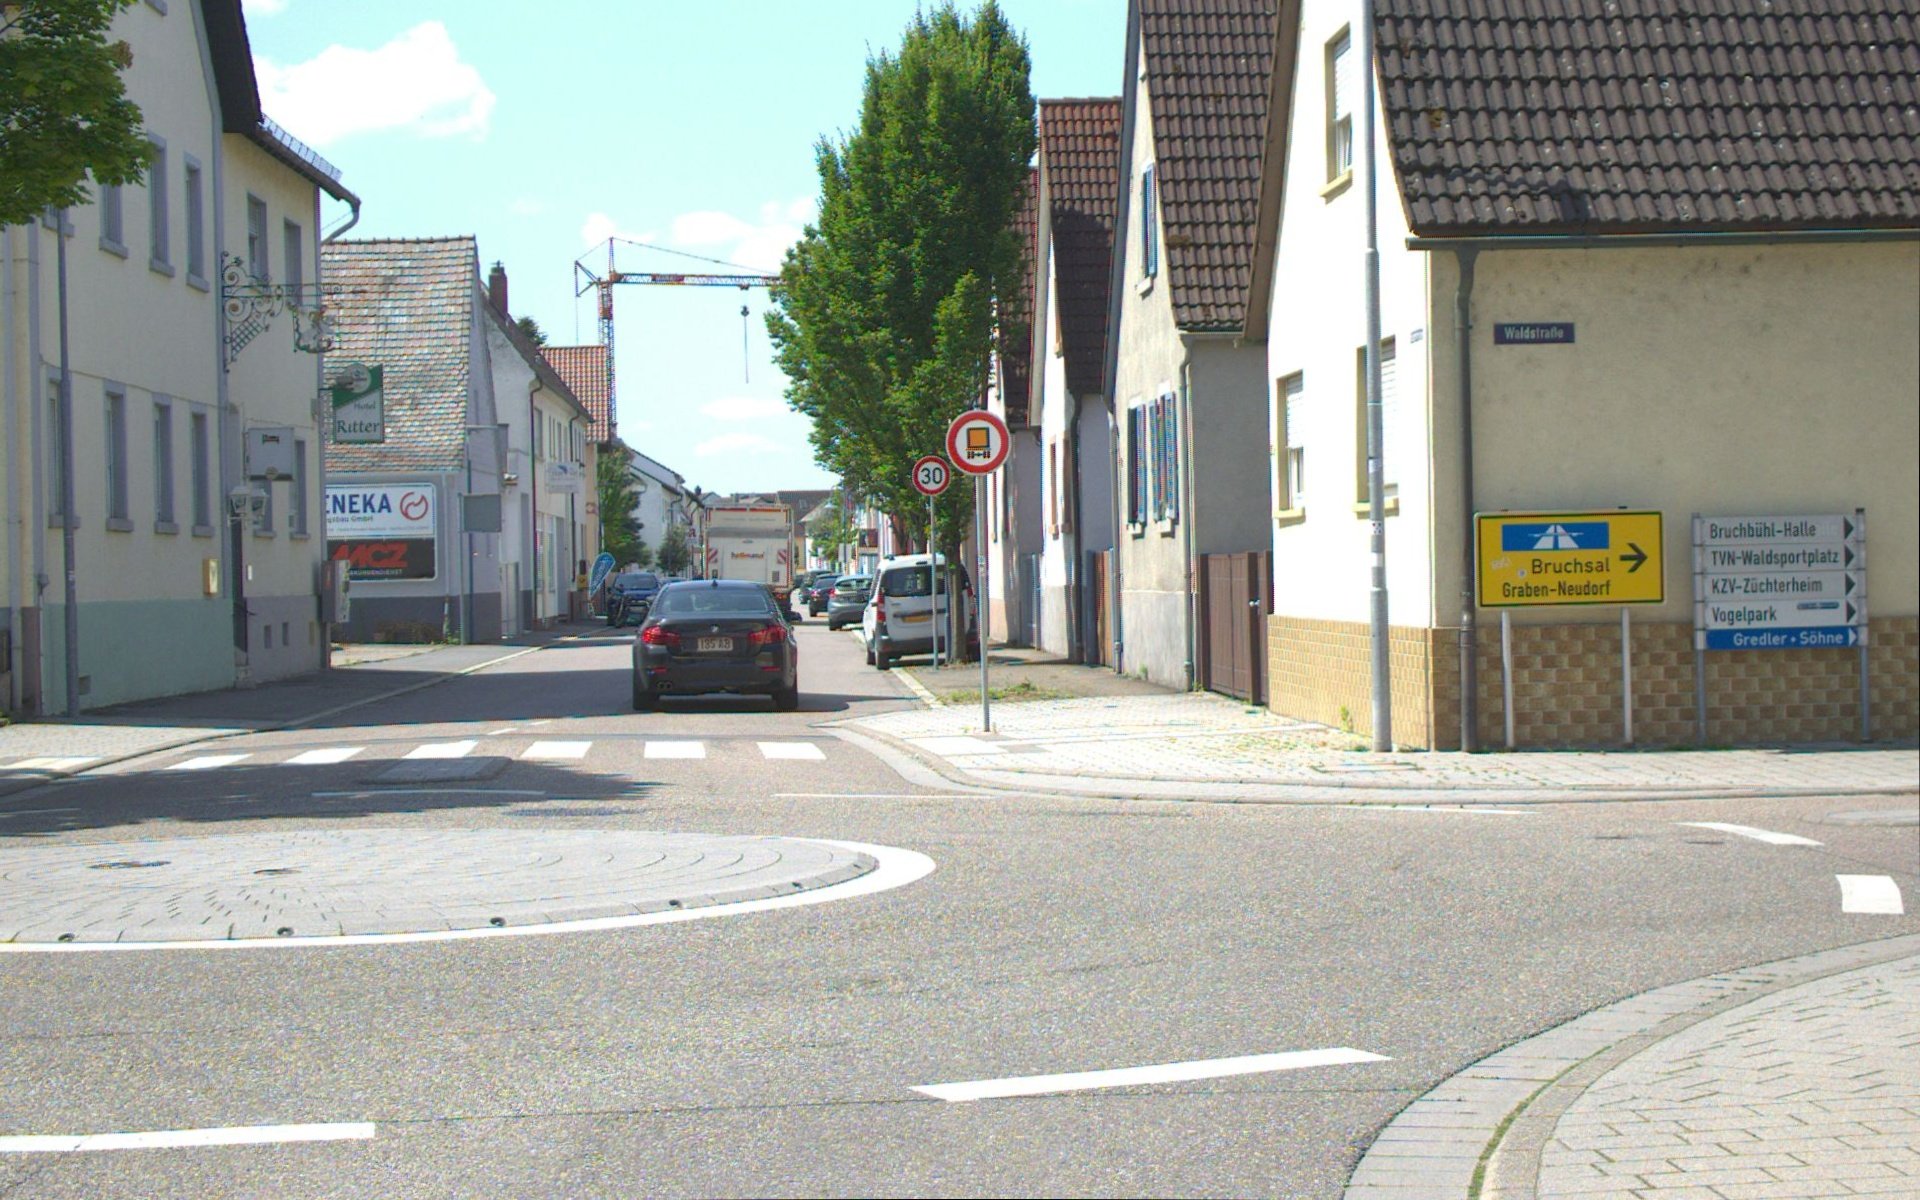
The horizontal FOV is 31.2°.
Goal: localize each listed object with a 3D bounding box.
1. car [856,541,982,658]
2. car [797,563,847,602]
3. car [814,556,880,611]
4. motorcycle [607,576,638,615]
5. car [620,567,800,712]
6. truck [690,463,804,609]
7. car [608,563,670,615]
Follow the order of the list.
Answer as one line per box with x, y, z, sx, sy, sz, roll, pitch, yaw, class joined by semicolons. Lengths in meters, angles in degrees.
-0.713;-0.023;56.681;1.719;1.784;4.144;-2;1;-5;car
-4.887;-0.630;121.671;1.719;1.350;4.157;0;1;-3;car
-3.050;-0.461;93.259;1.719;1.456;4.157;0;1;-1;car
-10.165;-0.134;103.524;0.846;1.166;2.469;1;0;-4;motorcycle
-2.848;0.410;39.922;1.902;1.558;4.477;0;1;-2;car
-6.436;-1.874;105.247;3.144;4.236;9.302;1;0;-2;truck
-10.032;-0.358;107.504;1.809;1.583;4.001;0;1;-4;car
